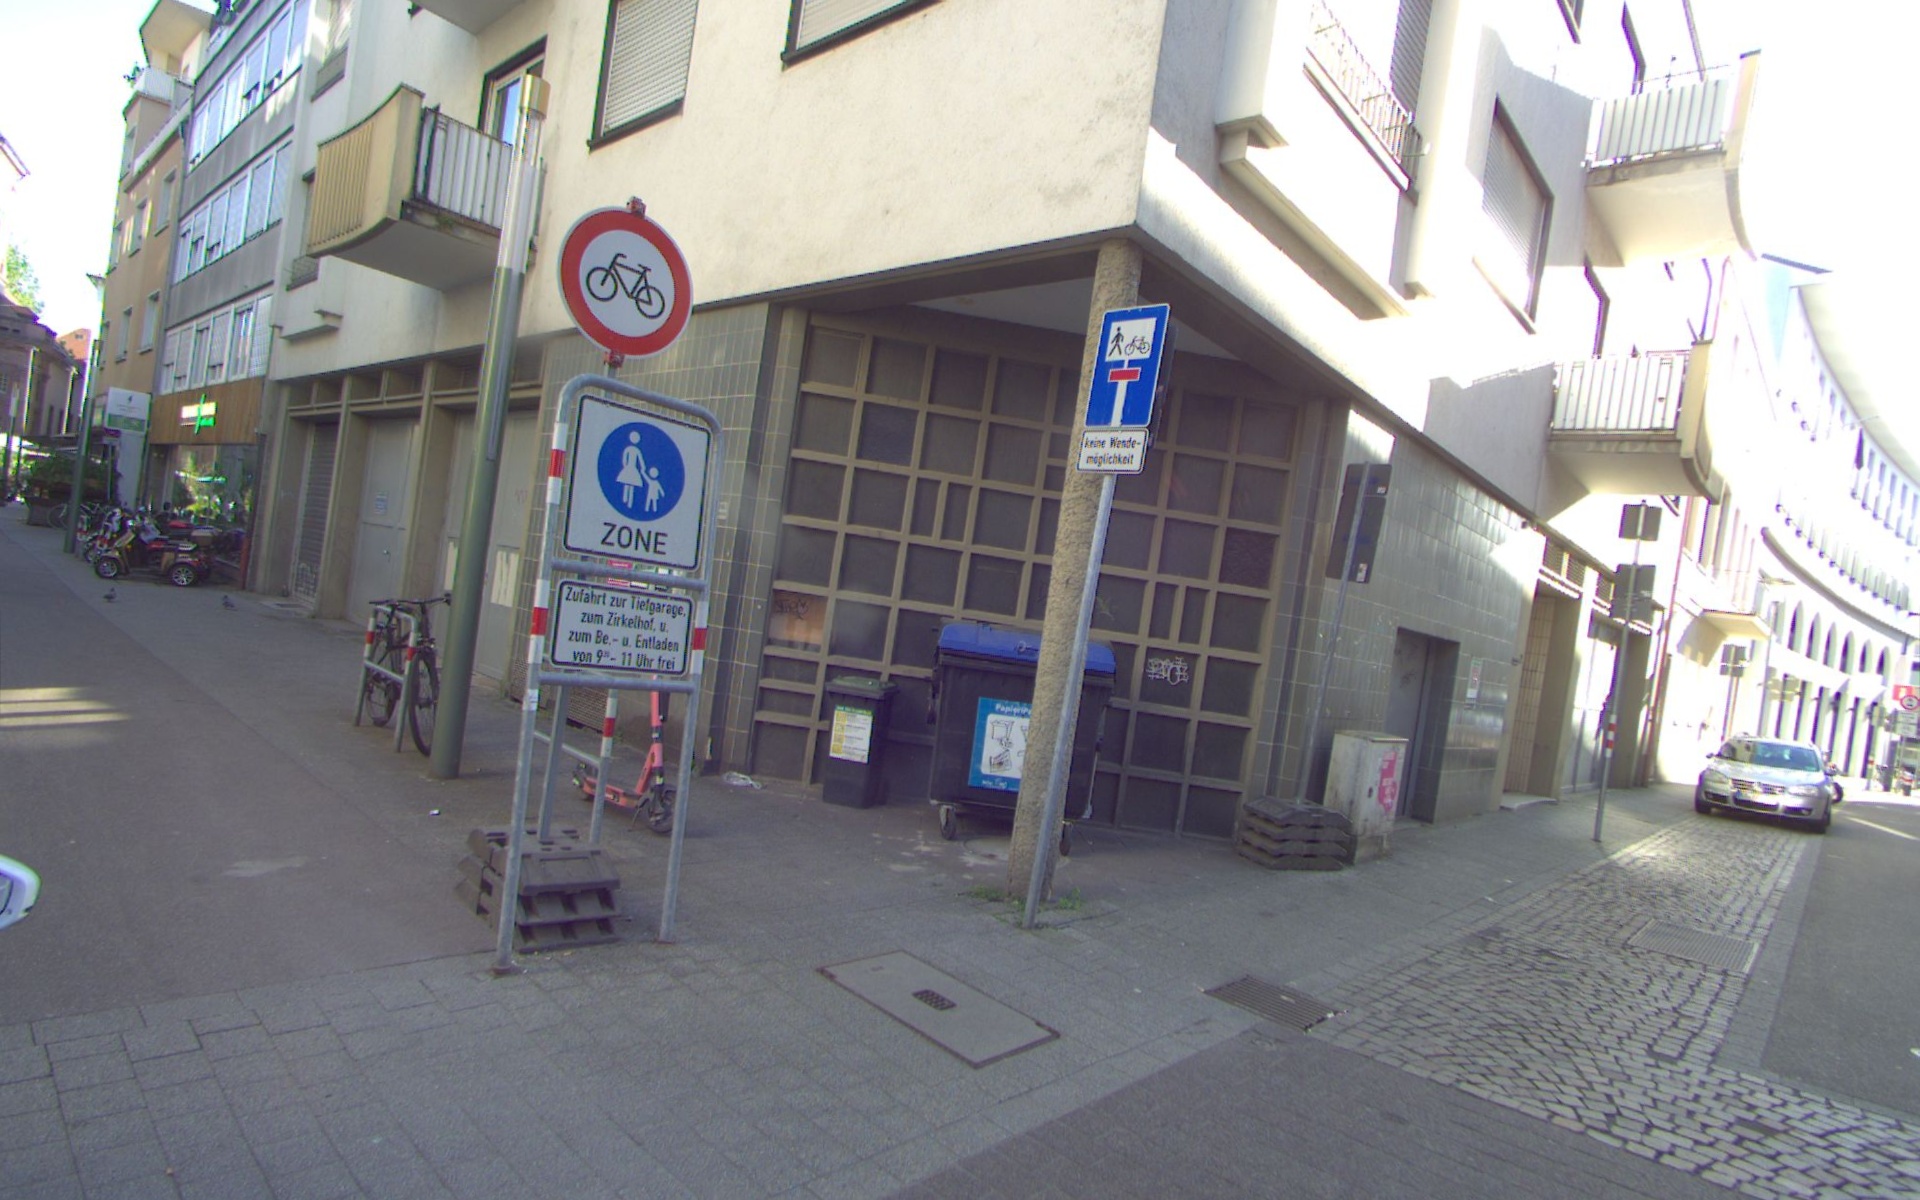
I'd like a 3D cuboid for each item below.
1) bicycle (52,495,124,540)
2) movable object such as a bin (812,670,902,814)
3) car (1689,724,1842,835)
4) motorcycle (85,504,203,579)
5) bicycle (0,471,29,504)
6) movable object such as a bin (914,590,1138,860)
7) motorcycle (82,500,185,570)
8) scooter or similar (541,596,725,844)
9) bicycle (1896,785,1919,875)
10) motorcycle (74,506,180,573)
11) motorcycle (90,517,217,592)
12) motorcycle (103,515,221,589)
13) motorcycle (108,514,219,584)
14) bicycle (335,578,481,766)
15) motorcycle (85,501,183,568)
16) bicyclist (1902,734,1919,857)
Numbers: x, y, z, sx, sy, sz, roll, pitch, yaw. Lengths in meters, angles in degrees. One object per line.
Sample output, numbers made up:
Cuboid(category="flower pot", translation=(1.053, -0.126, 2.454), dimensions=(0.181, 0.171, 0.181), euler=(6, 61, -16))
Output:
Cuboid(category="bicycle", translation=(-25.015, -2.366, 28.876), dimensions=(1.458, 1.017, 0.566), euler=(8, 0, -41))
Cuboid(category="movable object such as a bin", translation=(-0.755, 1.035, 7.462), dimensions=(0.532, 0.935, 0.513), euler=(7, 1, -5))
Cuboid(category="car", translation=(14.300, 3.093, 17.786), dimensions=(1.747, 1.487, 3.794), euler=(6, -2, 43))
Cuboid(category="motorcycle", translation=(-15.693, -1.114, 19.384), dimensions=(1.612, 1.189, 0.477), euler=(8, 1, -30))
Cuboid(category="bicycle", translation=(-44.013, -5.225, 46.361), dimensions=(0.359, 1.324, 1.592), euler=(8, 0, 14))
Cuboid(category="movable object such as a bin", translation=(0.416, 0.825, 7.197), dimensions=(1.268, 1.609, 1.154), euler=(8, 2, -3))
Cuboid(category="motorcycle", translation=(-16.793, -1.312, 20.471), dimensions=(1.474, 1.196, 0.408), euler=(8, 1, -33))
Cuboid(category="scooter or similar", translation=(-2.001, 0.682, 6.080), dimensions=(1.221, 1.268, 0.307), euler=(8, 0, 40))
Cuboid(category="bicycle", translation=(12.496, 2.936, 12.723), dimensions=(1.821, 1.063, 0.568), euler=(9, -1, -37))
Cuboid(category="motorcycle", translation=(-16.376, -1.178, 19.814), dimensions=(1.472, 1.089, 0.409), euler=(8, 1, -30))
Cuboid(category="motorcycle", translation=(-13.699, -0.762, 17.128), dimensions=(1.552, 1.054, 0.369), euler=(8, 1, -30))
Cuboid(category="motorcycle", translation=(-14.134, -0.838, 17.858), dimensions=(1.505, 1.089, 0.409), euler=(8, 1, -30))
Cuboid(category="motorcycle", translation=(-14.772, -0.941, 18.686), dimensions=(1.472, 1.089, 0.409), euler=(8, 1, -30))
Cuboid(category="bicycle", translation=(-4.072, 0.482, 7.361), dimensions=(0.445, 1.153, 1.690), euler=(8, -1, -42))
Cuboid(category="motorcycle", translation=(-17.478, -1.383, 21.315), dimensions=(1.474, 1.196, 0.408), euler=(8, 1, -33))
Cuboid(category="bicyclist", translation=(12.661, 2.523, 12.793), dimensions=(1.100, 1.577, 0.643), euler=(8, 0, -36))
